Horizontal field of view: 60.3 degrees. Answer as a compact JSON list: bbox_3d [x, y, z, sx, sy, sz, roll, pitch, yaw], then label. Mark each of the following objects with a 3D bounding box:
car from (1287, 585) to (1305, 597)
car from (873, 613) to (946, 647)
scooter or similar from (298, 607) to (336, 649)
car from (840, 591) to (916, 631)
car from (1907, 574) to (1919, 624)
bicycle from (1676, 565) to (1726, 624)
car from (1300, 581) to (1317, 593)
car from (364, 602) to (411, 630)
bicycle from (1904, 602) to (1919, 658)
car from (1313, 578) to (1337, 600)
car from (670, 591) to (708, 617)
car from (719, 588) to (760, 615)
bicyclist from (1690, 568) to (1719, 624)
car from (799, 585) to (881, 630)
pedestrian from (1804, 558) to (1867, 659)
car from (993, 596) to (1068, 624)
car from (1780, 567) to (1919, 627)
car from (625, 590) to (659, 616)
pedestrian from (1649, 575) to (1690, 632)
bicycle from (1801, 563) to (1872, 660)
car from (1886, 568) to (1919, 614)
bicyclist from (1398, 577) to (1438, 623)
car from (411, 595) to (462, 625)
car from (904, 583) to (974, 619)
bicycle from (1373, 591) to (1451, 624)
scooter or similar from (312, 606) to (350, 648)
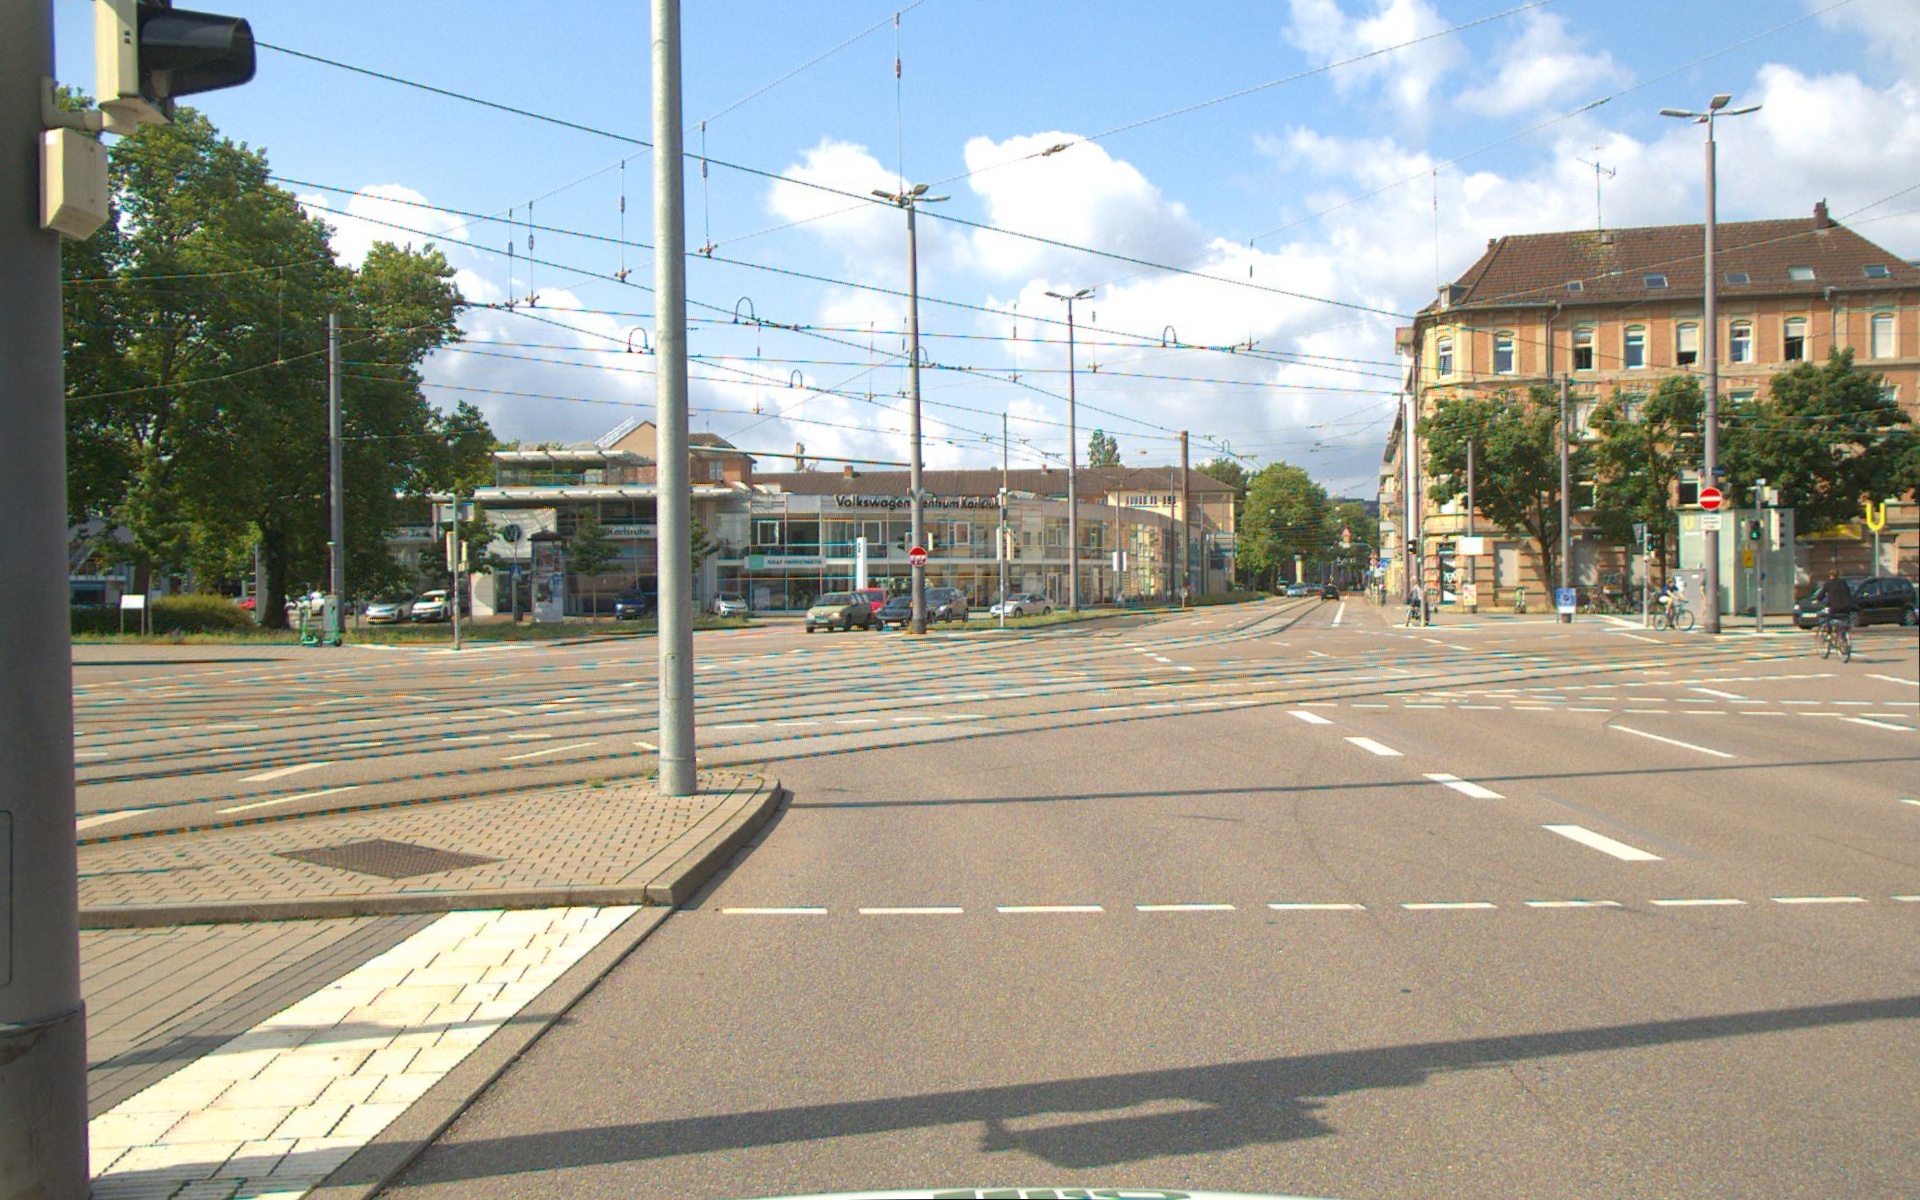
[{"bbox_3d":[39.869,-1.058,196.375,1.951,1.355,4.004,-1,0,10],"label":"car"},{"bbox_3d":[-1.812,1.072,60.166,1.587,1.182,4.003,1,0,15],"label":"car"},{"bbox_3d":[-19.156,0.835,49.288,0.375,1.177,0.923,5,1,44],"label":"scooter or similar"},{"bbox_3d":[-3.269,0.447,66.695,1.951,1.545,4.003,1,0,15],"label":"car"},{"bbox_3d":[33.670,-0.088,54.657,4.617,1.623,1.982,-1,1,-28],"label":"car"},{"bbox_3d":[22.979,-0.168,51.299,0.715,1.808,1.636,-1,0,-4],"label":"bicycle"},{"bbox_3d":[44.382,-1.642,210.661,1.951,1.517,4.003,0,0,11],"label":"car"},{"bbox_3d":[-33.655,0.933,97.323,1.957,1.601,3.991,1,0,-9],"label":"car"},{"bbox_3d":[18.451,0.540,29.859,0.973,1.045,3.108,2,-2,-2],"label":"bicycle"},{"bbox_3d":[34.568,-1.062,156.521,1.951,2.049,4.002,-1,0,17],"label":"car"},{"bbox_3d":[-15.783,0.227,96.506,1.882,1.470,3.996,-1,0,-5],"label":"car"},{"bbox_3d":[-13.120,0.077,98.571,1.880,1.579,4.000,-1,0,0],"label":"car"},{"bbox_3d":[22.974,-0.124,51.060,0.561,1.700,0.655,-1,0,-4],"label":"bicyclist"},{"bbox_3d":[-4.348,0.285,60.444,1.782,1.539,4.003,1,0,15],"label":"car"},{"bbox_3d":[16.643,0.153,31.471,0.972,1.873,0.996,1,-1,24],"label":"pedestrian"},{"bbox_3d":[3.982,0.572,93.069,1.751,1.490,4.452,1,0,43],"label":"car"},{"bbox_3d":[27.920,-0.076,51.738,4.278,1.770,1.981,1,0,-29],"label":"car"},{"bbox_3d":[-18.629,0.153,96.965,1.885,1.470,3.990,-1,0,-11],"label":"car"},{"bbox_3d":[23.208,0.116,54.126,0.850,1.841,0.884,1,0,-13],"label":"pedestrian"},{"bbox_3d":[16.667,0.215,31.498,0.985,1.755,2.468,1,0,24],"label":"bicycle"},{"bbox_3d":[35.124,-0.339,59.066,3.940,1.628,1.739,-1,0,-27],"label":"car"},{"bbox_3d":[16.895,0.006,61.023,1.172,1.687,0.784,-1,0,-10],"label":"bicyclist"},{"bbox_3d":[-30.702,0.567,97.151,2.027,1.632,3.996,-1,0,-5],"label":"car"},{"bbox_3d":[-0.912,0.026,74.449,1.951,1.579,4.002,-1,0,18],"label":"car"},{"bbox_3d":[16.662,0.268,60.970,2.623,1.191,0.899,-1,0,-10],"label":"bicycle"},{"bbox_3d":[-18.637,0.801,49.020,0.374,1.177,0.927,5,1,33],"label":"scooter or similar"}]
